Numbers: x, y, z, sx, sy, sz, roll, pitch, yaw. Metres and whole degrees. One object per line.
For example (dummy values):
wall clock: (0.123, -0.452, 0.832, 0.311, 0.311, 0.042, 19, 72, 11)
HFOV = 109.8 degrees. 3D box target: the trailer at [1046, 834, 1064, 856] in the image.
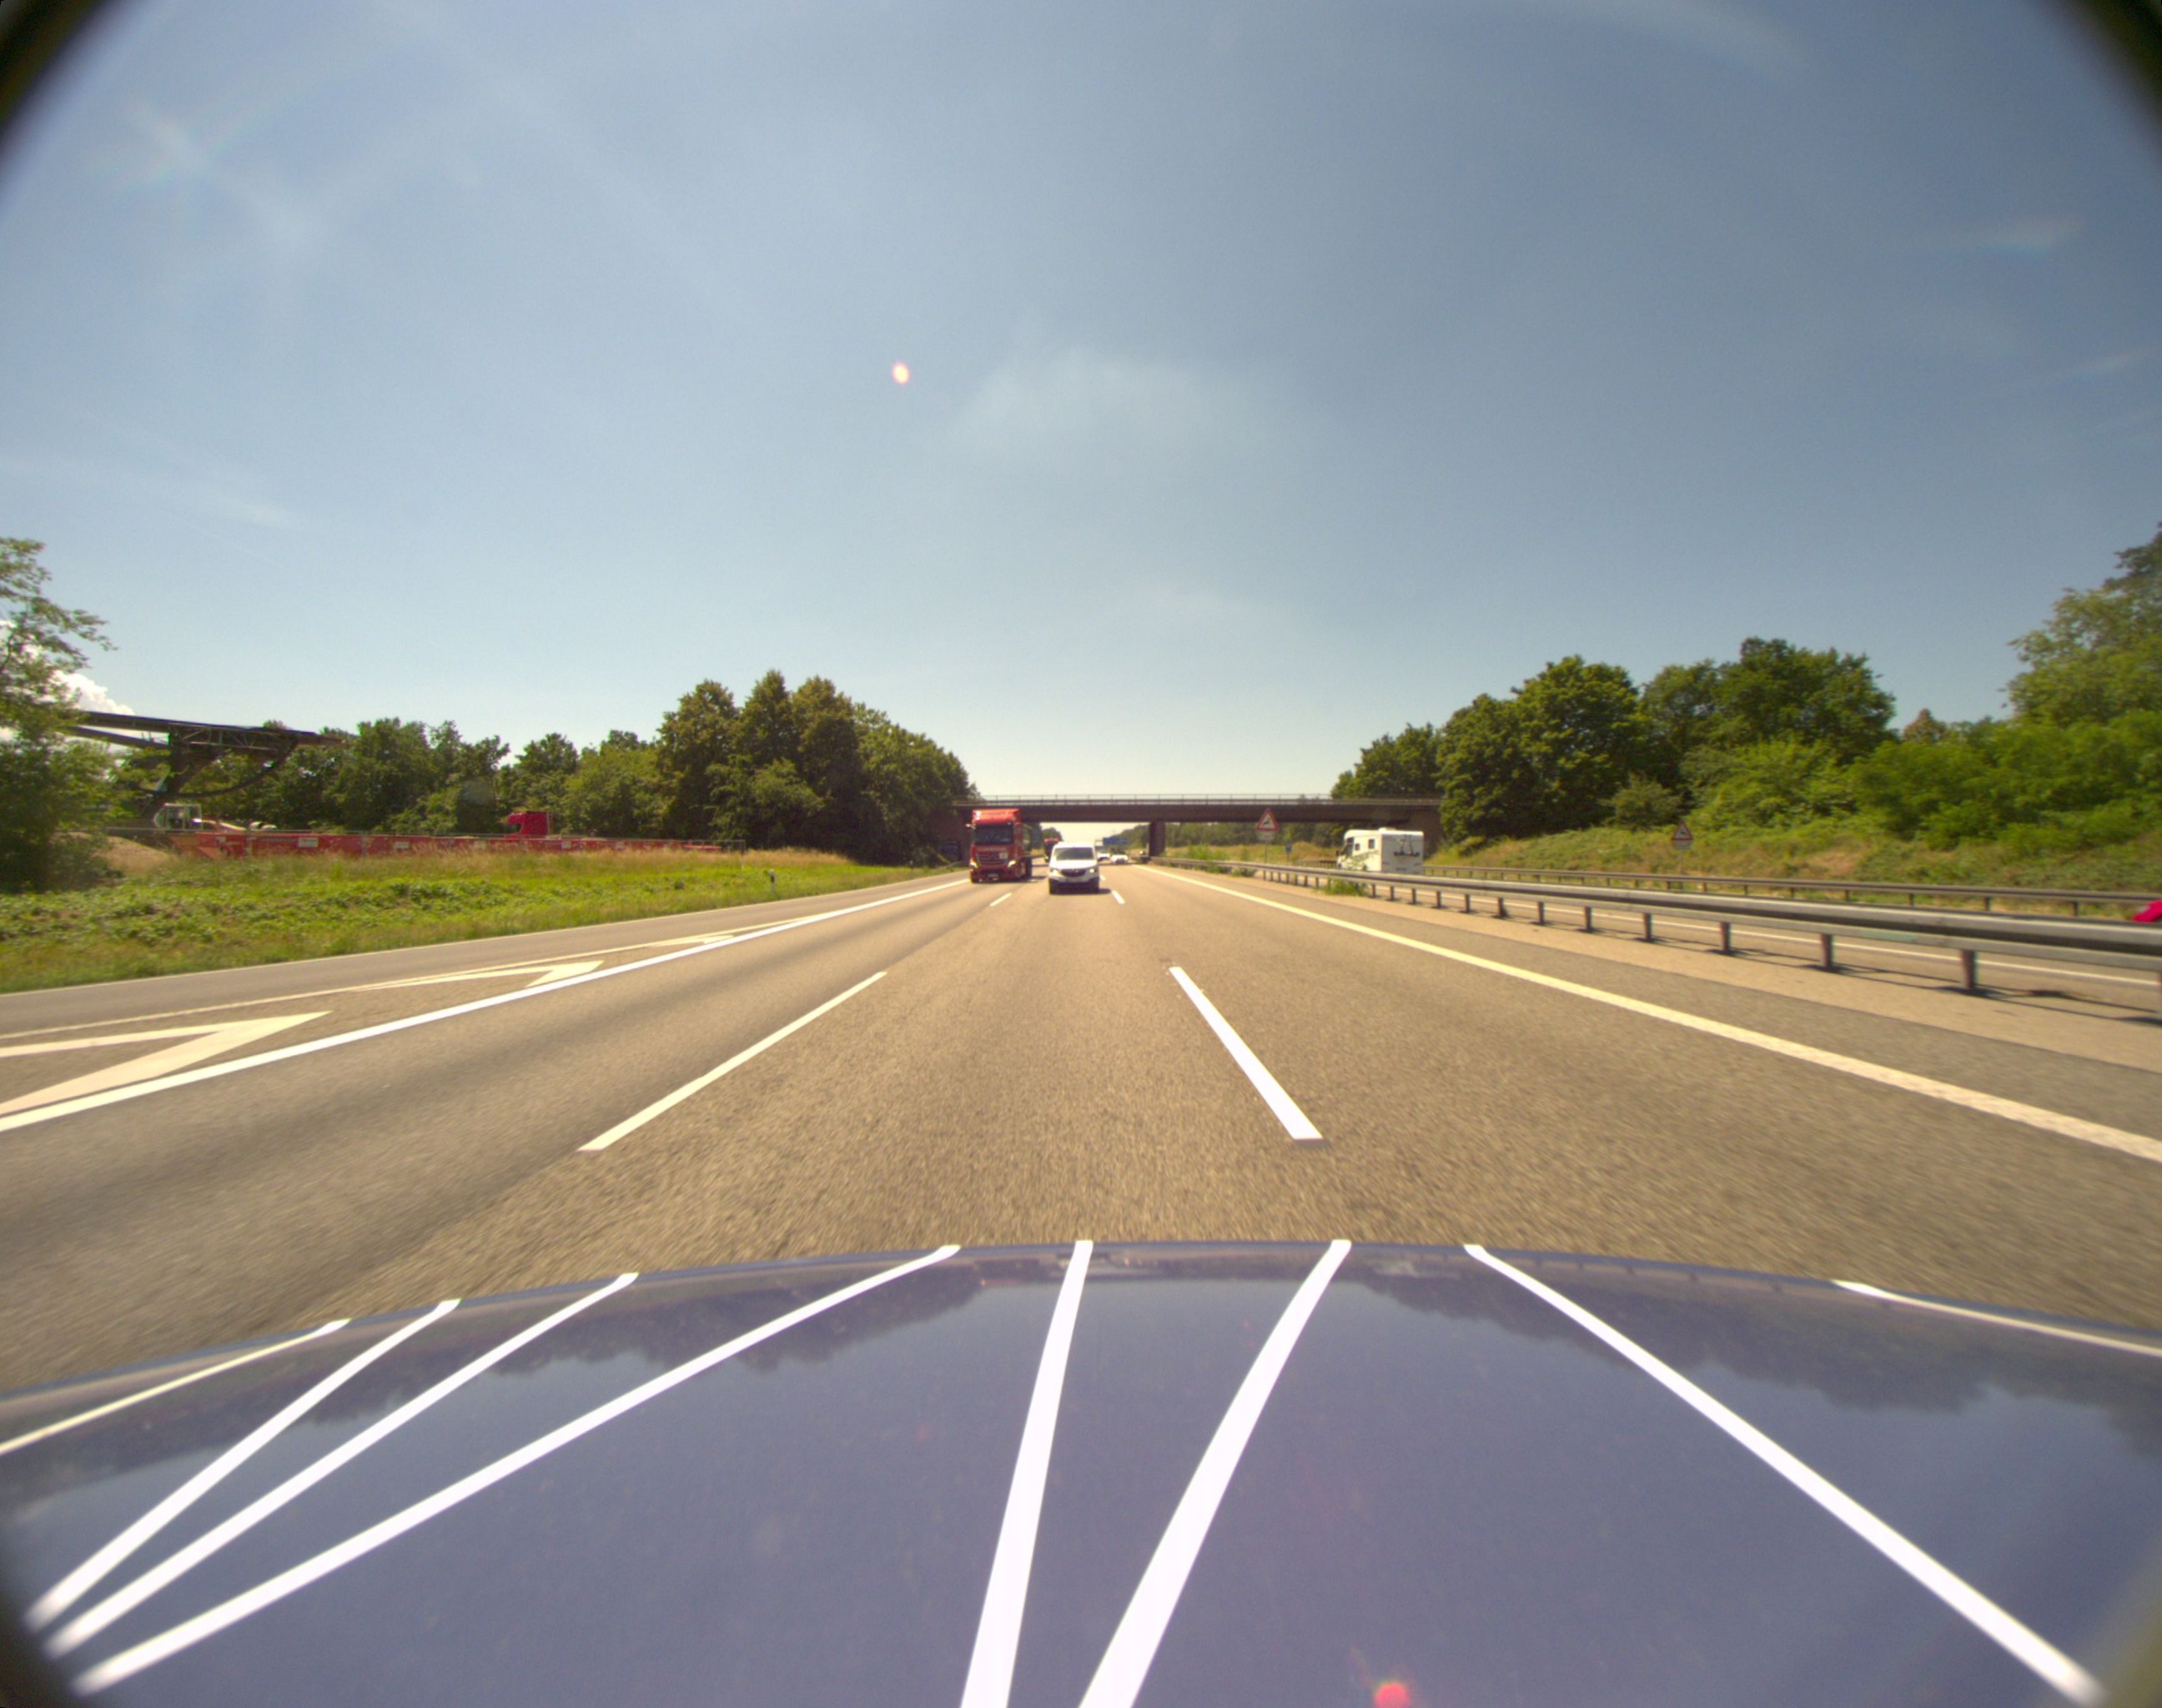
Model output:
trailer: (-4.603, -1.546, 136.087, 2.535, 3.712, 11.547, -2, 1, 0)

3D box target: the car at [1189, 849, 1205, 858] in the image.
car: (22.392, -0.150, 146.795, 2.233, 1.601, 5.059, 1, 1, 0)

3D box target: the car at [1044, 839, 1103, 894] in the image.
car: (-0.199, 0.395, 28.317, 1.870, 1.807, 4.941, -2, 1, 3)

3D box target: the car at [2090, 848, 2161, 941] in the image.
car: (17.080, 0.645, 9.649, 2.233, 1.372, 4.691, 1, 1, 0)

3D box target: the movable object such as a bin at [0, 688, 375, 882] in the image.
movable object such as a bin: (-45.080, -2.800, 32.965, 3.135, 7.881, 22.816, -2, 1, 14)

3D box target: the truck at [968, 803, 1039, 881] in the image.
truck: (-4.208, -0.649, 44.183, 2.687, 3.776, 12.476, -2, 1, 0)

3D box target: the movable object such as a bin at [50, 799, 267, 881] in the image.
movable object such as a bin: (-50.662, -0.814, 42.134, 6.658, 4.185, 3.941, -2, 1, -35)

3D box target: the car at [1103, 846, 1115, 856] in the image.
car: (4.309, -0.392, 117.801, 1.581, 1.411, 3.353, -2, -1, 0)

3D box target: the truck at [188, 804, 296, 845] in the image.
truck: (-73.440, -2.469, 66.403, 13.465, 2.929, 3.661, -2, 1, 31)

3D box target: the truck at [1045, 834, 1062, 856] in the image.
truck: (-4.649, -1.520, 130.275, 2.535, 3.712, 6.098, -2, 1, 0)

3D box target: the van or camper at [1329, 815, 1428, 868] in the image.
van or camper: (17.104, -0.738, 44.361, 2.508, 2.794, 8.560, 0, 1, 1)

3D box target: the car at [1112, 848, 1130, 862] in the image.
car: (4.054, 0.119, 77.810, 1.581, 1.411, 3.352, -2, 0, 0)

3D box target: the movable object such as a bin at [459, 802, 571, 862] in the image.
movable object such as a bin: (-43.817, -1.656, 58.977, 5.921, 4.285, 3.816, -2, 1, 10)

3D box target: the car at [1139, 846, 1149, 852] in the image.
car: (16.646, -1.372, 202.186, 2.233, 1.601, 5.059, 1, 1, 0)

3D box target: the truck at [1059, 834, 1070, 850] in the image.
truck: (-4.212, -3.169, 195.425, 2.603, 3.980, 6.173, -2, 1, 0)
